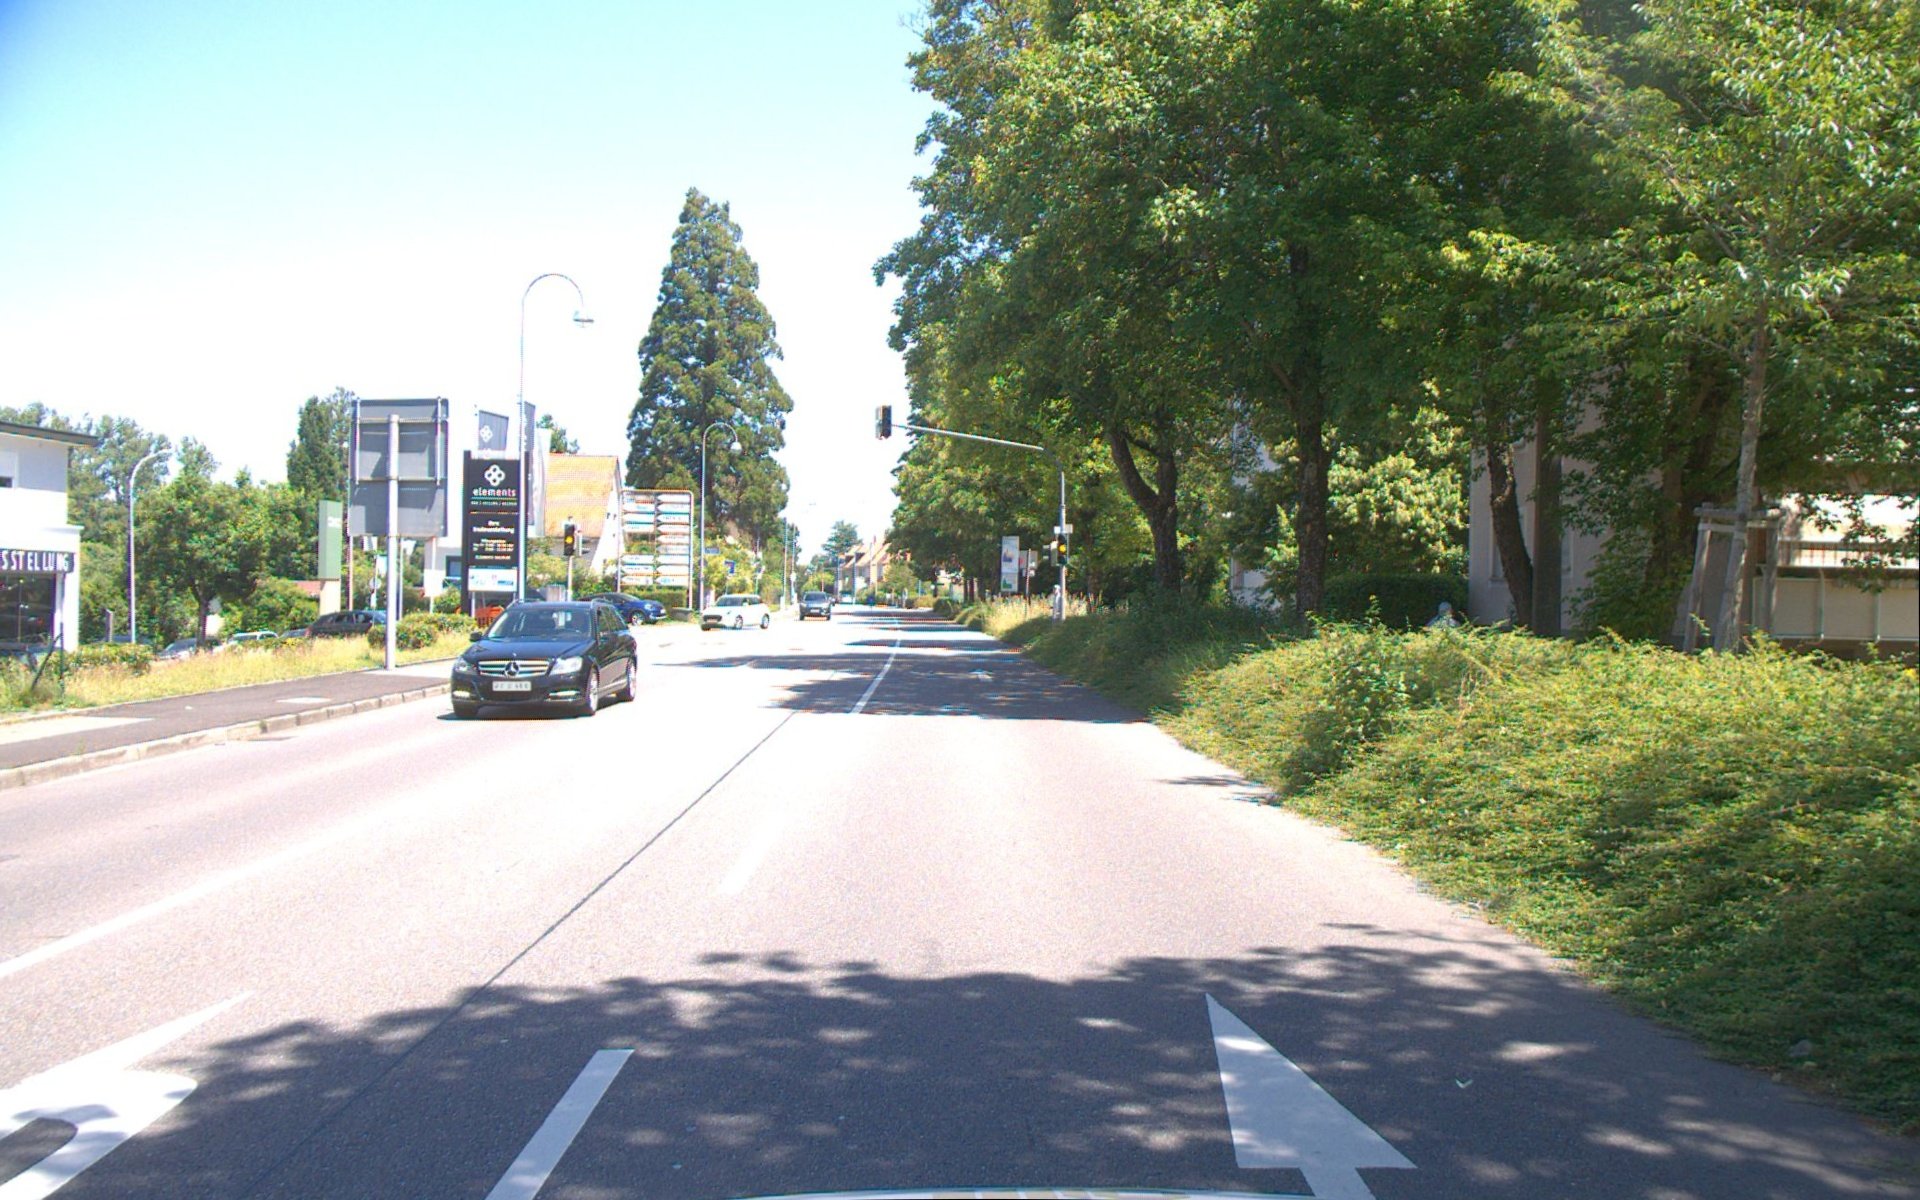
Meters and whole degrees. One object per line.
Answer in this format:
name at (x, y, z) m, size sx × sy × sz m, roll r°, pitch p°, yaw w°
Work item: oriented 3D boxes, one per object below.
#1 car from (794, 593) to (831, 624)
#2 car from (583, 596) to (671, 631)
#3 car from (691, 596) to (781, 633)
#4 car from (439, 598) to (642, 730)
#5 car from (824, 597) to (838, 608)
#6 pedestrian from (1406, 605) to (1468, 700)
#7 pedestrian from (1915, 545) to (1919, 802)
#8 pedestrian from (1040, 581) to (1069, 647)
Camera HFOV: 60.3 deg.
car at (-8.689, 0.475, 97.820) m, size 1.841 × 1.748 × 4.309 m, roll 0°, pitch 0°, yaw -1°
car at (-14.518, 0.587, 72.271) m, size 3.417 × 1.452 × 1.602 m, roll 1°, pitch 0°, yaw 6°
car at (-9.564, 0.602, 70.846) m, size 1.953 × 1.513 × 4.309 m, roll 0°, pitch 0°, yaw 22°
car at (-5.455, 0.768, 22.032) m, size 1.675 × 1.521 × 4.277 m, roll 1°, pitch 1°, yaw -1°
car at (-15.924, 0.356, 203.812) m, size 1.402 × 1.345 × 3.354 m, roll 1°, pitch 0°, yaw 0°
pedestrian at (6.978, 0.753, 24.217) m, size 0.648 × 1.358 × 0.889 m, roll 1°, pitch -1°, yaw 0°
pedestrian at (7.601, 0.559, 12.245) m, size 0.689 × 1.948 × 0.660 m, roll 0°, pitch 0°, yaw 3°
pedestrian at (2.569, 0.384, 44.832) m, size 0.550 × 1.781 × 0.613 m, roll 0°, pitch -1°, yaw 33°
